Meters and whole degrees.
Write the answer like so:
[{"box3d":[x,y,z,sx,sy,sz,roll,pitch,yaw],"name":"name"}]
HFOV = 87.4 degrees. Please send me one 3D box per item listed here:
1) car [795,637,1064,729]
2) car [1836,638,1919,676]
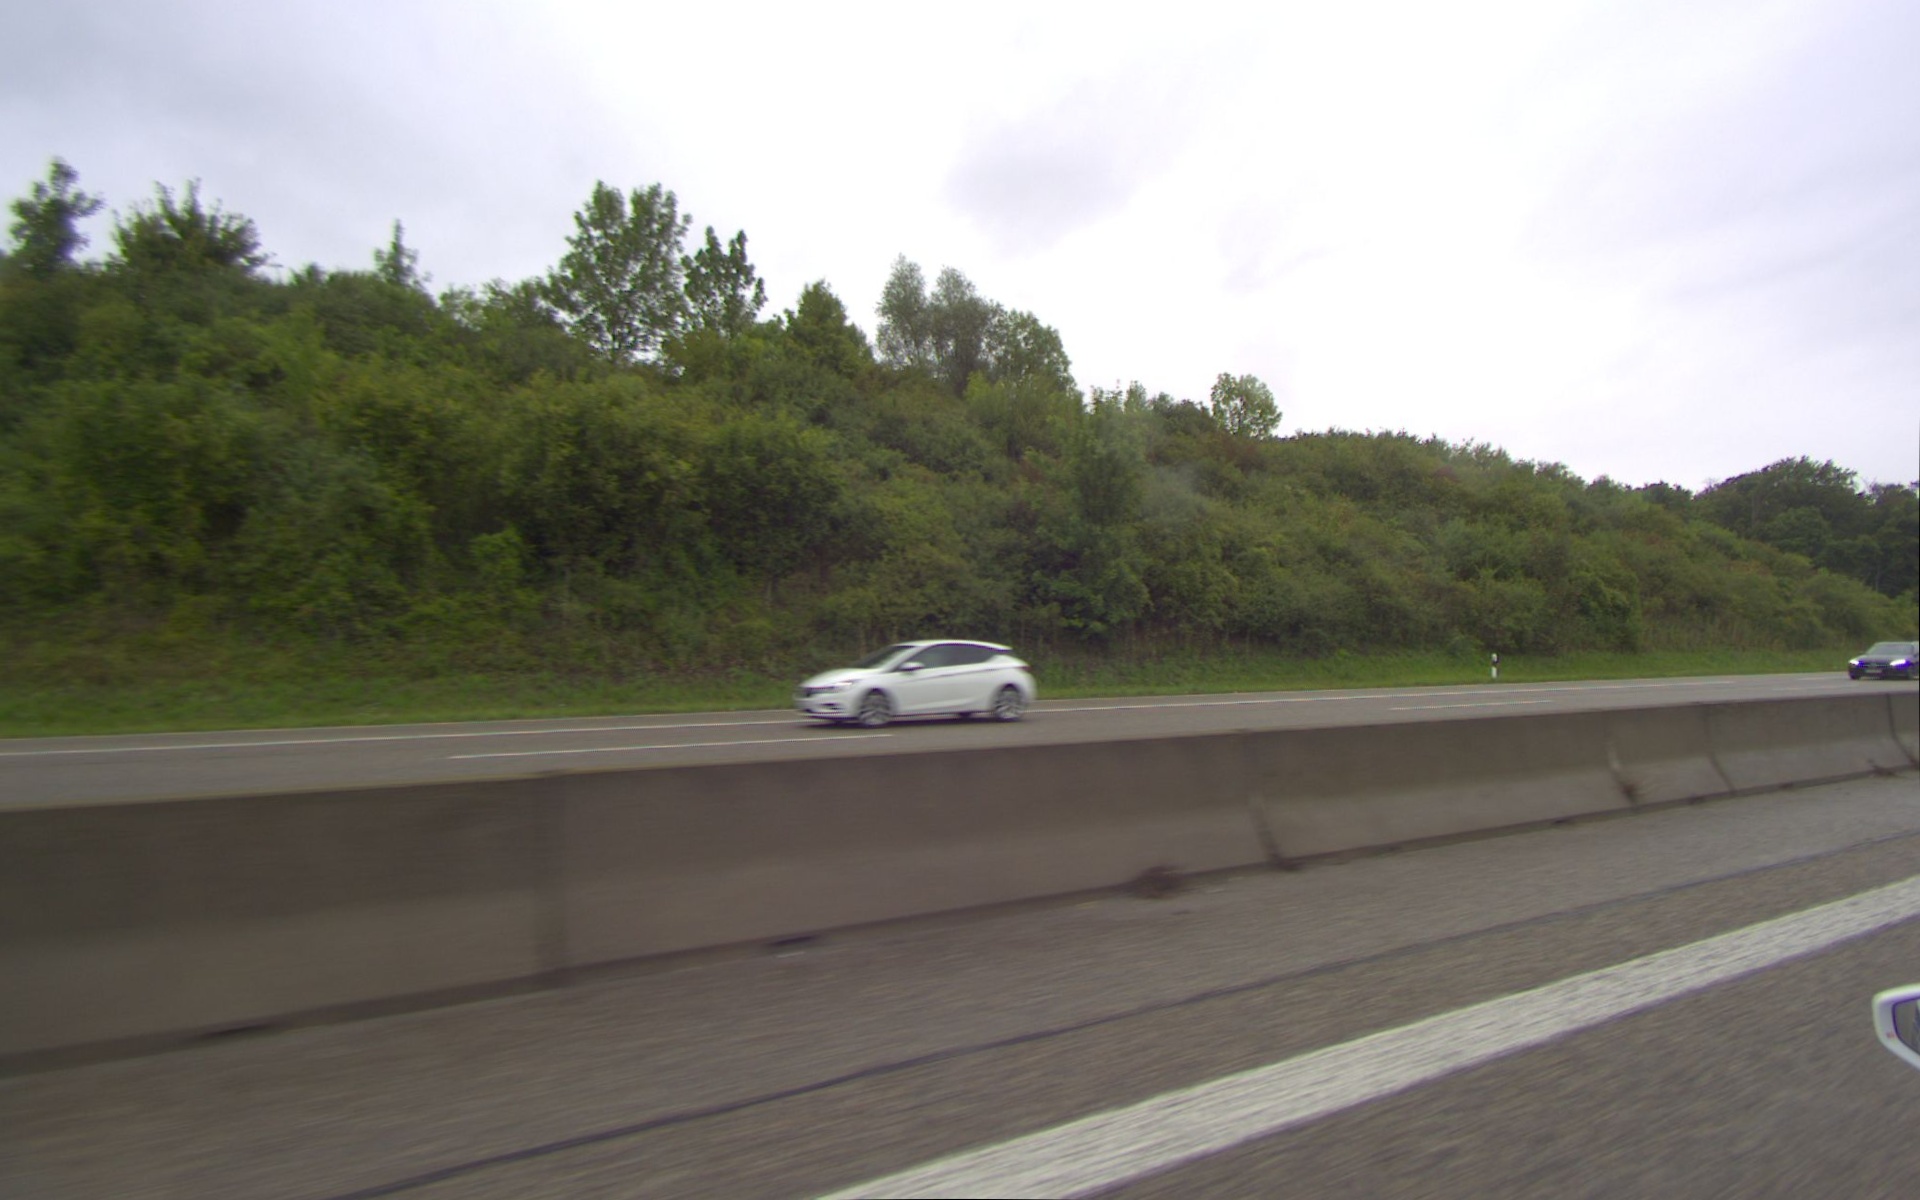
[{"box3d":[-0.499,1.409,18.076,4.575,1.469,1.789,1,-2,-31],"name":"car"},{"box3d":[36.468,2.218,39.472,4.416,1.403,1.790,1,-2,-30],"name":"car"}]
